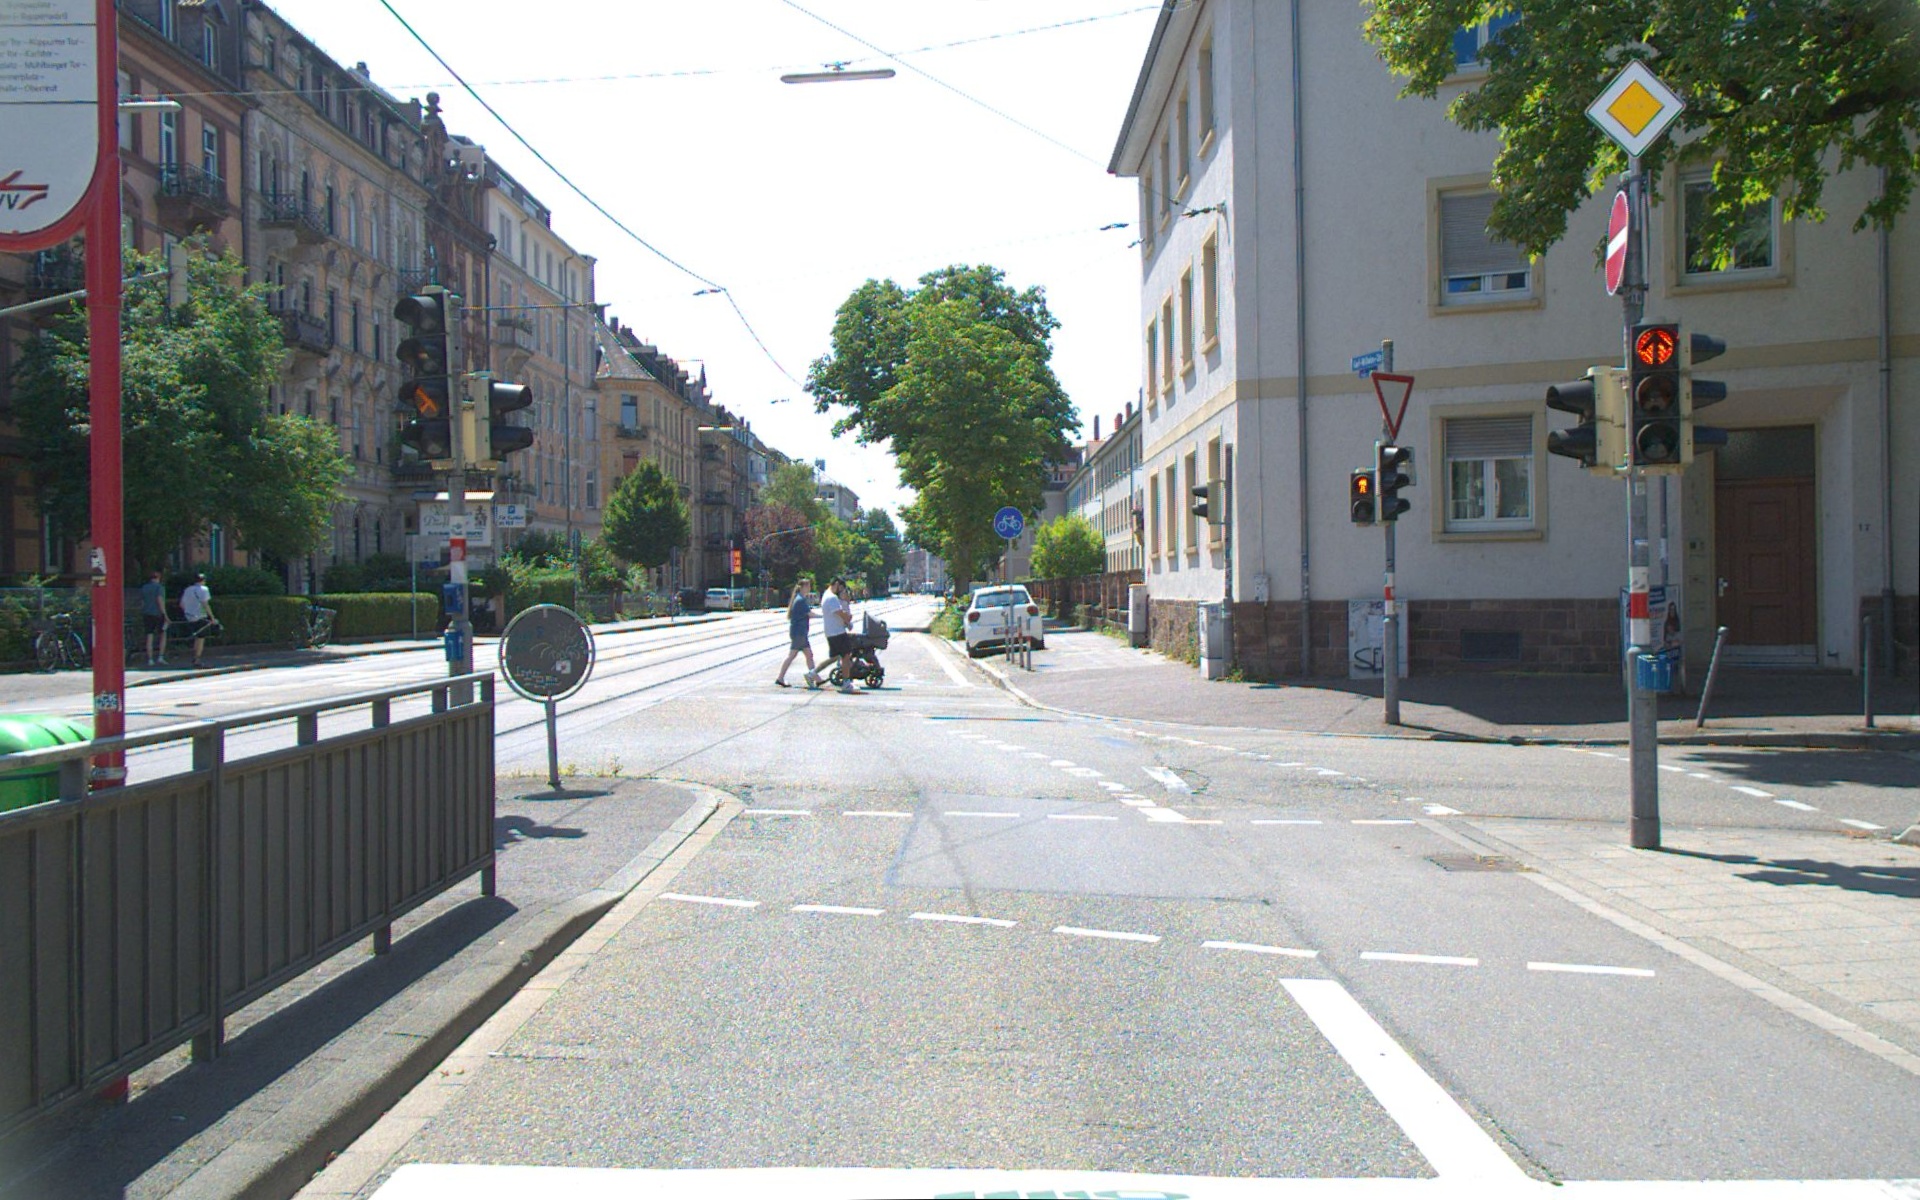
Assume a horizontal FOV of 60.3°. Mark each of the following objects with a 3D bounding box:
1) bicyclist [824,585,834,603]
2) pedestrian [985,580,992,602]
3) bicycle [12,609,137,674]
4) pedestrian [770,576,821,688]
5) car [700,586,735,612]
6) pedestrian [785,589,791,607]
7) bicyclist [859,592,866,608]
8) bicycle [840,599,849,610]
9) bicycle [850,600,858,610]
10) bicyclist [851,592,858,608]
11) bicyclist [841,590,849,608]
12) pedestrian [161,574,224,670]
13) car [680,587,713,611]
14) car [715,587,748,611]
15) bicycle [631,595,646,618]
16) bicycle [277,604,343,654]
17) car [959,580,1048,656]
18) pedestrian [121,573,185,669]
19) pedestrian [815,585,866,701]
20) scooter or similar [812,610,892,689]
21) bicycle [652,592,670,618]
[{"bbox_3d":[-11.912,-0.521,150.315,0.712,1.657,1.079,1,0,1],"label":"bicyclist"},{"bbox_3d":[2.009,-0.641,116.721,0.511,1.590,0.573,-1,0,-1],"label":"pedestrian"},{"bbox_3d":[-16.709,0.756,31.302,0.918,1.156,2.773,1,0,-2],"label":"bicycle"},{"bbox_3d":[-2.497,0.486,25.183,0.661,1.674,0.559,1,-1,3],"label":"pedestrian"},{"bbox_3d":[-16.876,-0.067,115.310,1.880,1.745,3.999,1,0,-1],"label":"car"},{"bbox_3d":[-14.762,-0.168,141.888,0.398,1.486,0.436,-1,0,-1],"label":"pedestrian"},{"bbox_3d":[-11.368,-0.040,192.653,0.712,1.850,1.079,1,0,1],"label":"bicyclist"},{"bbox_3d":[-12.118,0.498,173.435,0.712,1.142,2.085,1,0,1],"label":"bicycle"},{"bbox_3d":[-12.326,0.601,192.724,0.712,1.142,2.085,1,0,1],"label":"bicycle"},{"bbox_3d":[-12.316,-0.035,192.758,0.712,1.850,1.079,1,0,1],"label":"bicyclist"},{"bbox_3d":[-12.110,-0.093,173.517,0.712,1.799,1.079,1,0,1],"label":"bicyclist"},{"bbox_3d":[-15.172,0.420,32.723,0.799,1.854,0.874,1,1,2],"label":"pedestrian"},{"bbox_3d":[-19.676,-0.082,123.605,1.880,1.745,3.999,1,0,-1],"label":"car"},{"bbox_3d":[-17.045,-0.037,123.571,1.880,1.745,3.999,1,0,-1],"label":"car"},{"bbox_3d":[-15.498,0.326,79.785,0.665,1.083,1.913,-1,0,-12],"label":"bicycle"},{"bbox_3d":[-15.890,0.695,40.511,0.920,1.156,2.767,1,0,-9],"label":"bicycle"},{"bbox_3d":[0.931,0.392,37.337,1.778,1.542,3.999,-3,0,-1],"label":"car"},{"bbox_3d":[-15.937,0.411,32.688,0.799,1.854,0.874,1,1,2],"label":"pedestrian"},{"bbox_3d":[-1.757,0.632,24.350,0.661,1.674,0.559,1,-1,3],"label":"pedestrian"},{"bbox_3d":[-1.667,0.759,25.441,1.179,1.175,0.557,1,-1,-8],"label":"scooter or similar"},{"bbox_3d":[-15.275,0.240,84.433,0.664,1.301,1.917,-1,0,-4],"label":"bicycle"}]
